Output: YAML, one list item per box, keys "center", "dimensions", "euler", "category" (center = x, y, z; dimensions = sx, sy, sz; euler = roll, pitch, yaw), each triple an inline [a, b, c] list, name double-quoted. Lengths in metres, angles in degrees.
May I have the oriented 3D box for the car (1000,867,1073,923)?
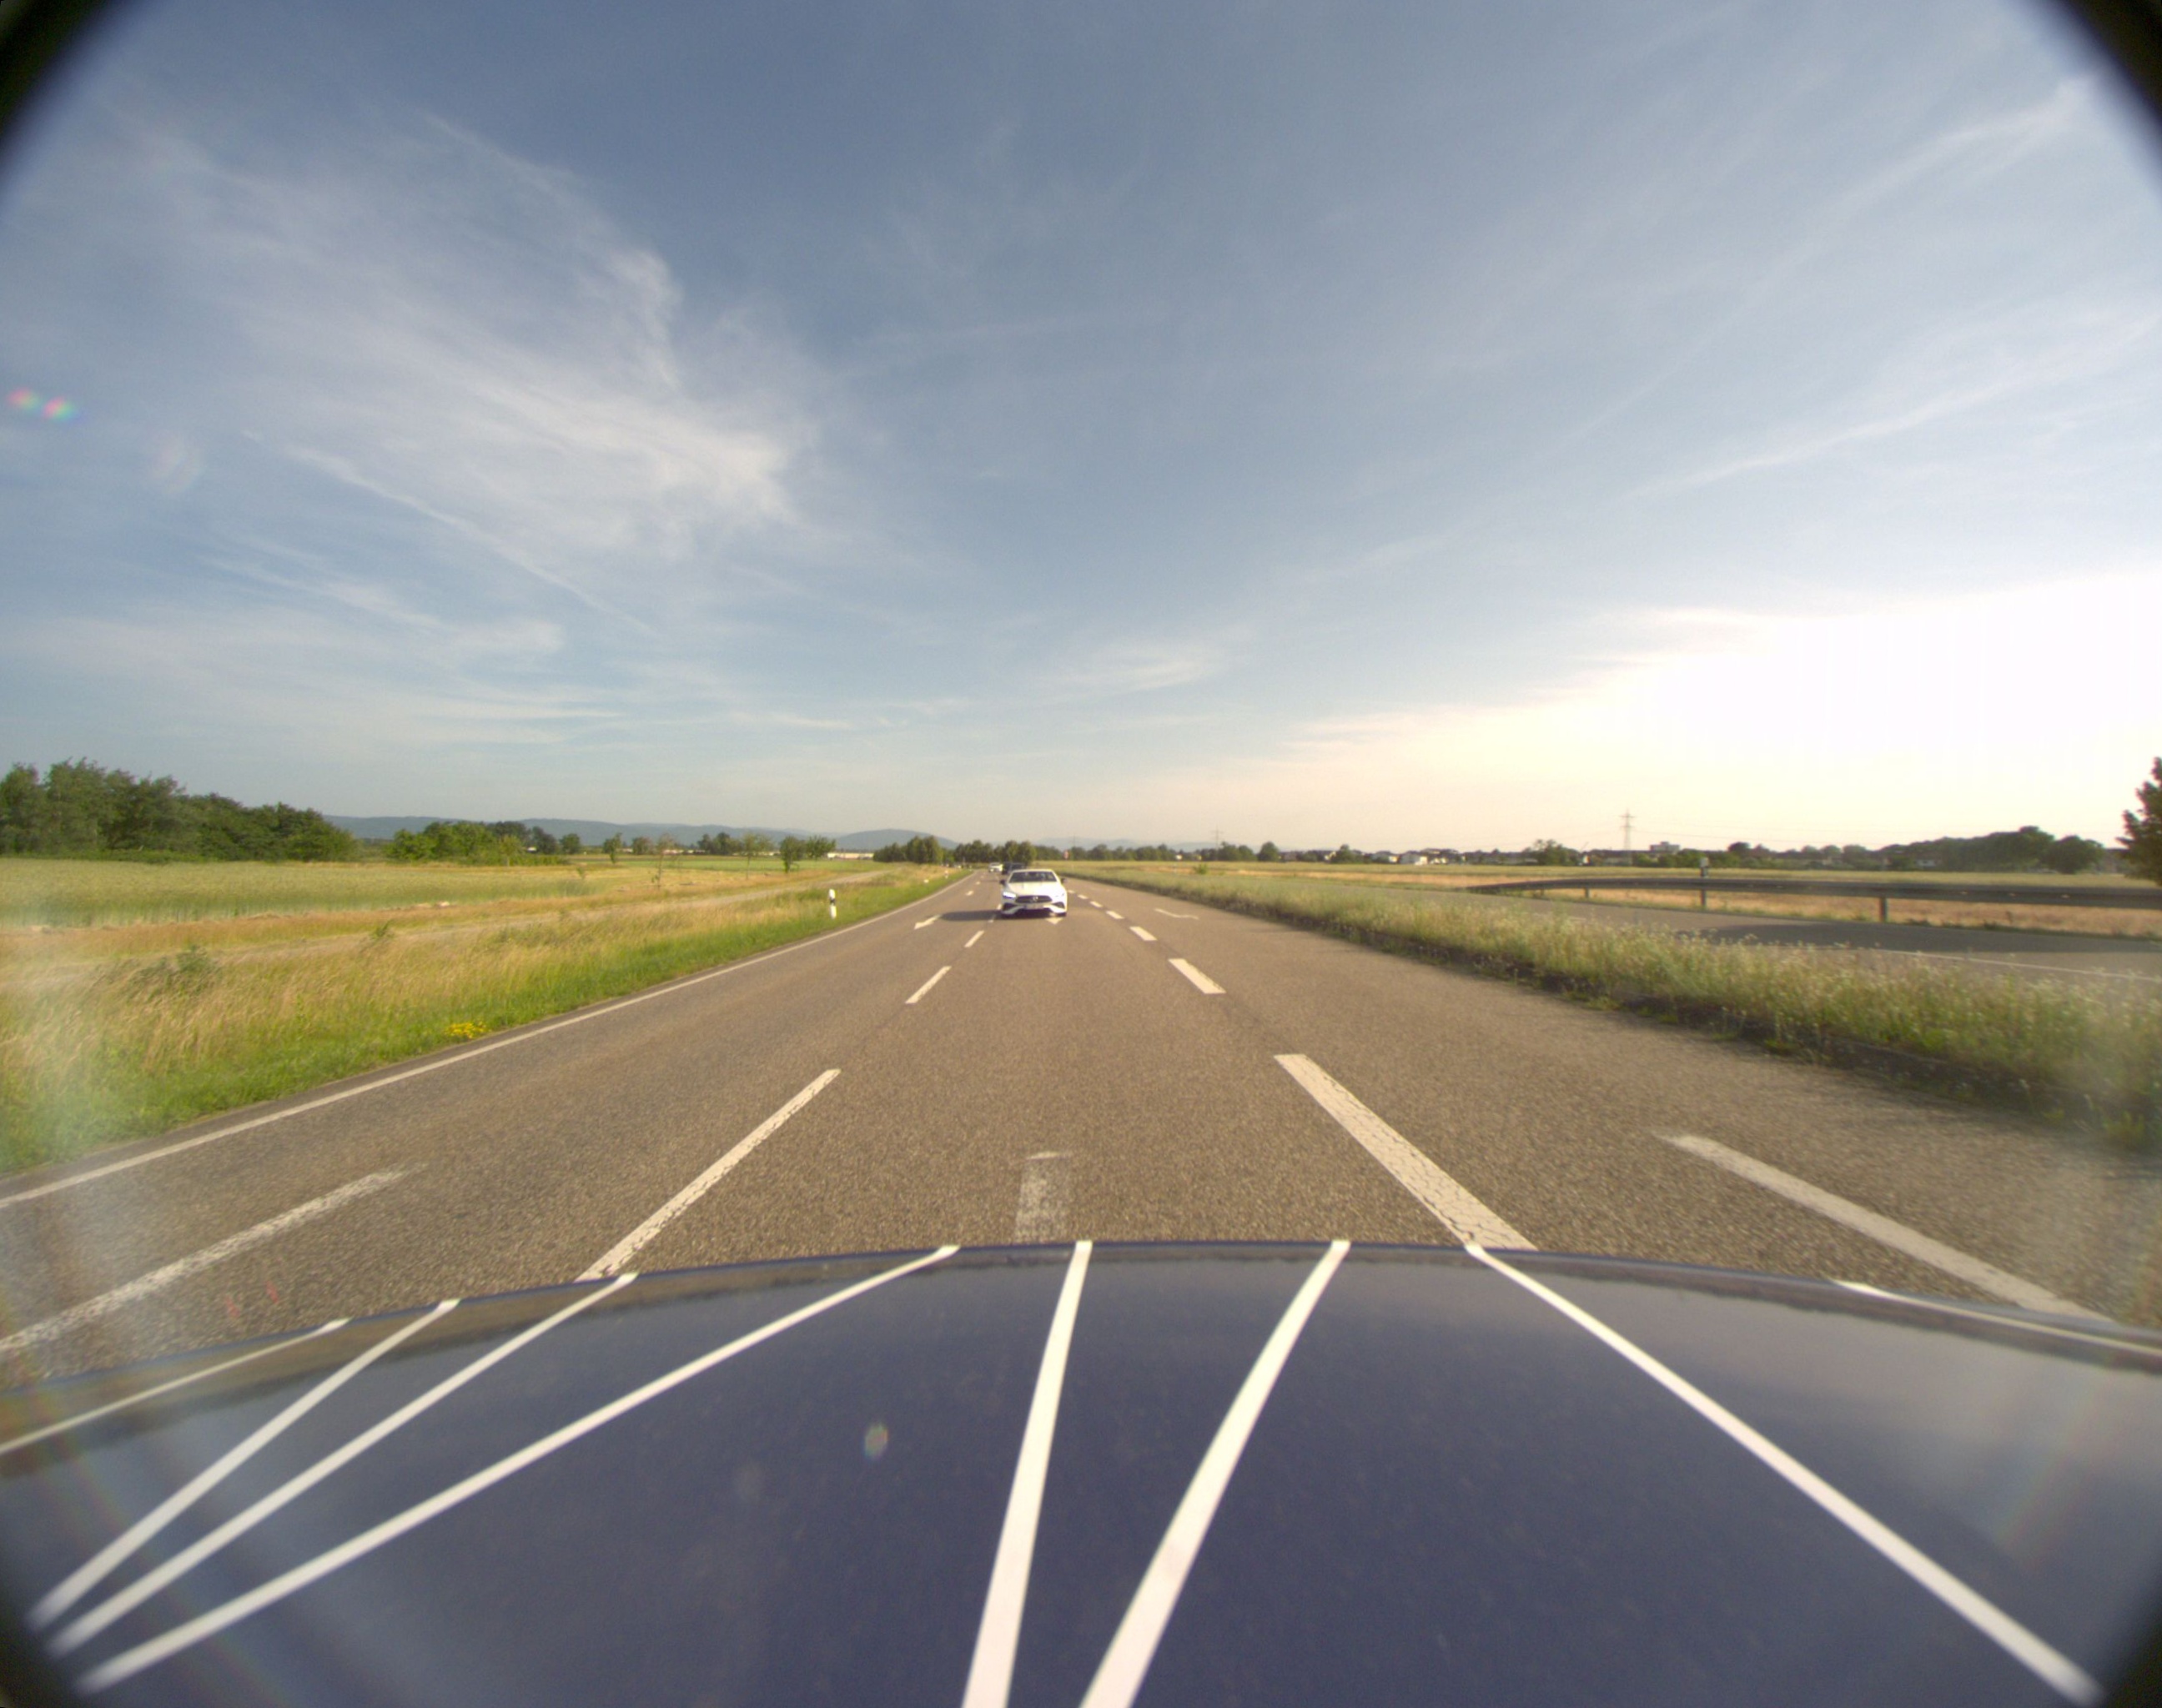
- center: [-1.351, 1.146, 22.653]
  dimensions: [1.942, 1.389, 3.917]
  euler: [-2, 0, -4]
  category: "car"

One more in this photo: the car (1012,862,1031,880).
- center: [-5.070, 1.409, 64.867]
  dimensions: [1.585, 1.496, 3.660]
  euler: [-1, 0, -4]
  category: "car"

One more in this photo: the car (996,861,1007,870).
- center: [-12.281, 1.738, 117.708]
  dimensions: [1.557, 1.391, 4.034]
  euler: [-1, 0, -4]
  category: "car"

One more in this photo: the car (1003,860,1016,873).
- center: [-8.811, 1.533, 93.996]
  dimensions: [1.557, 1.550, 3.048]
  euler: [-1, 0, -4]
  category: "car"
